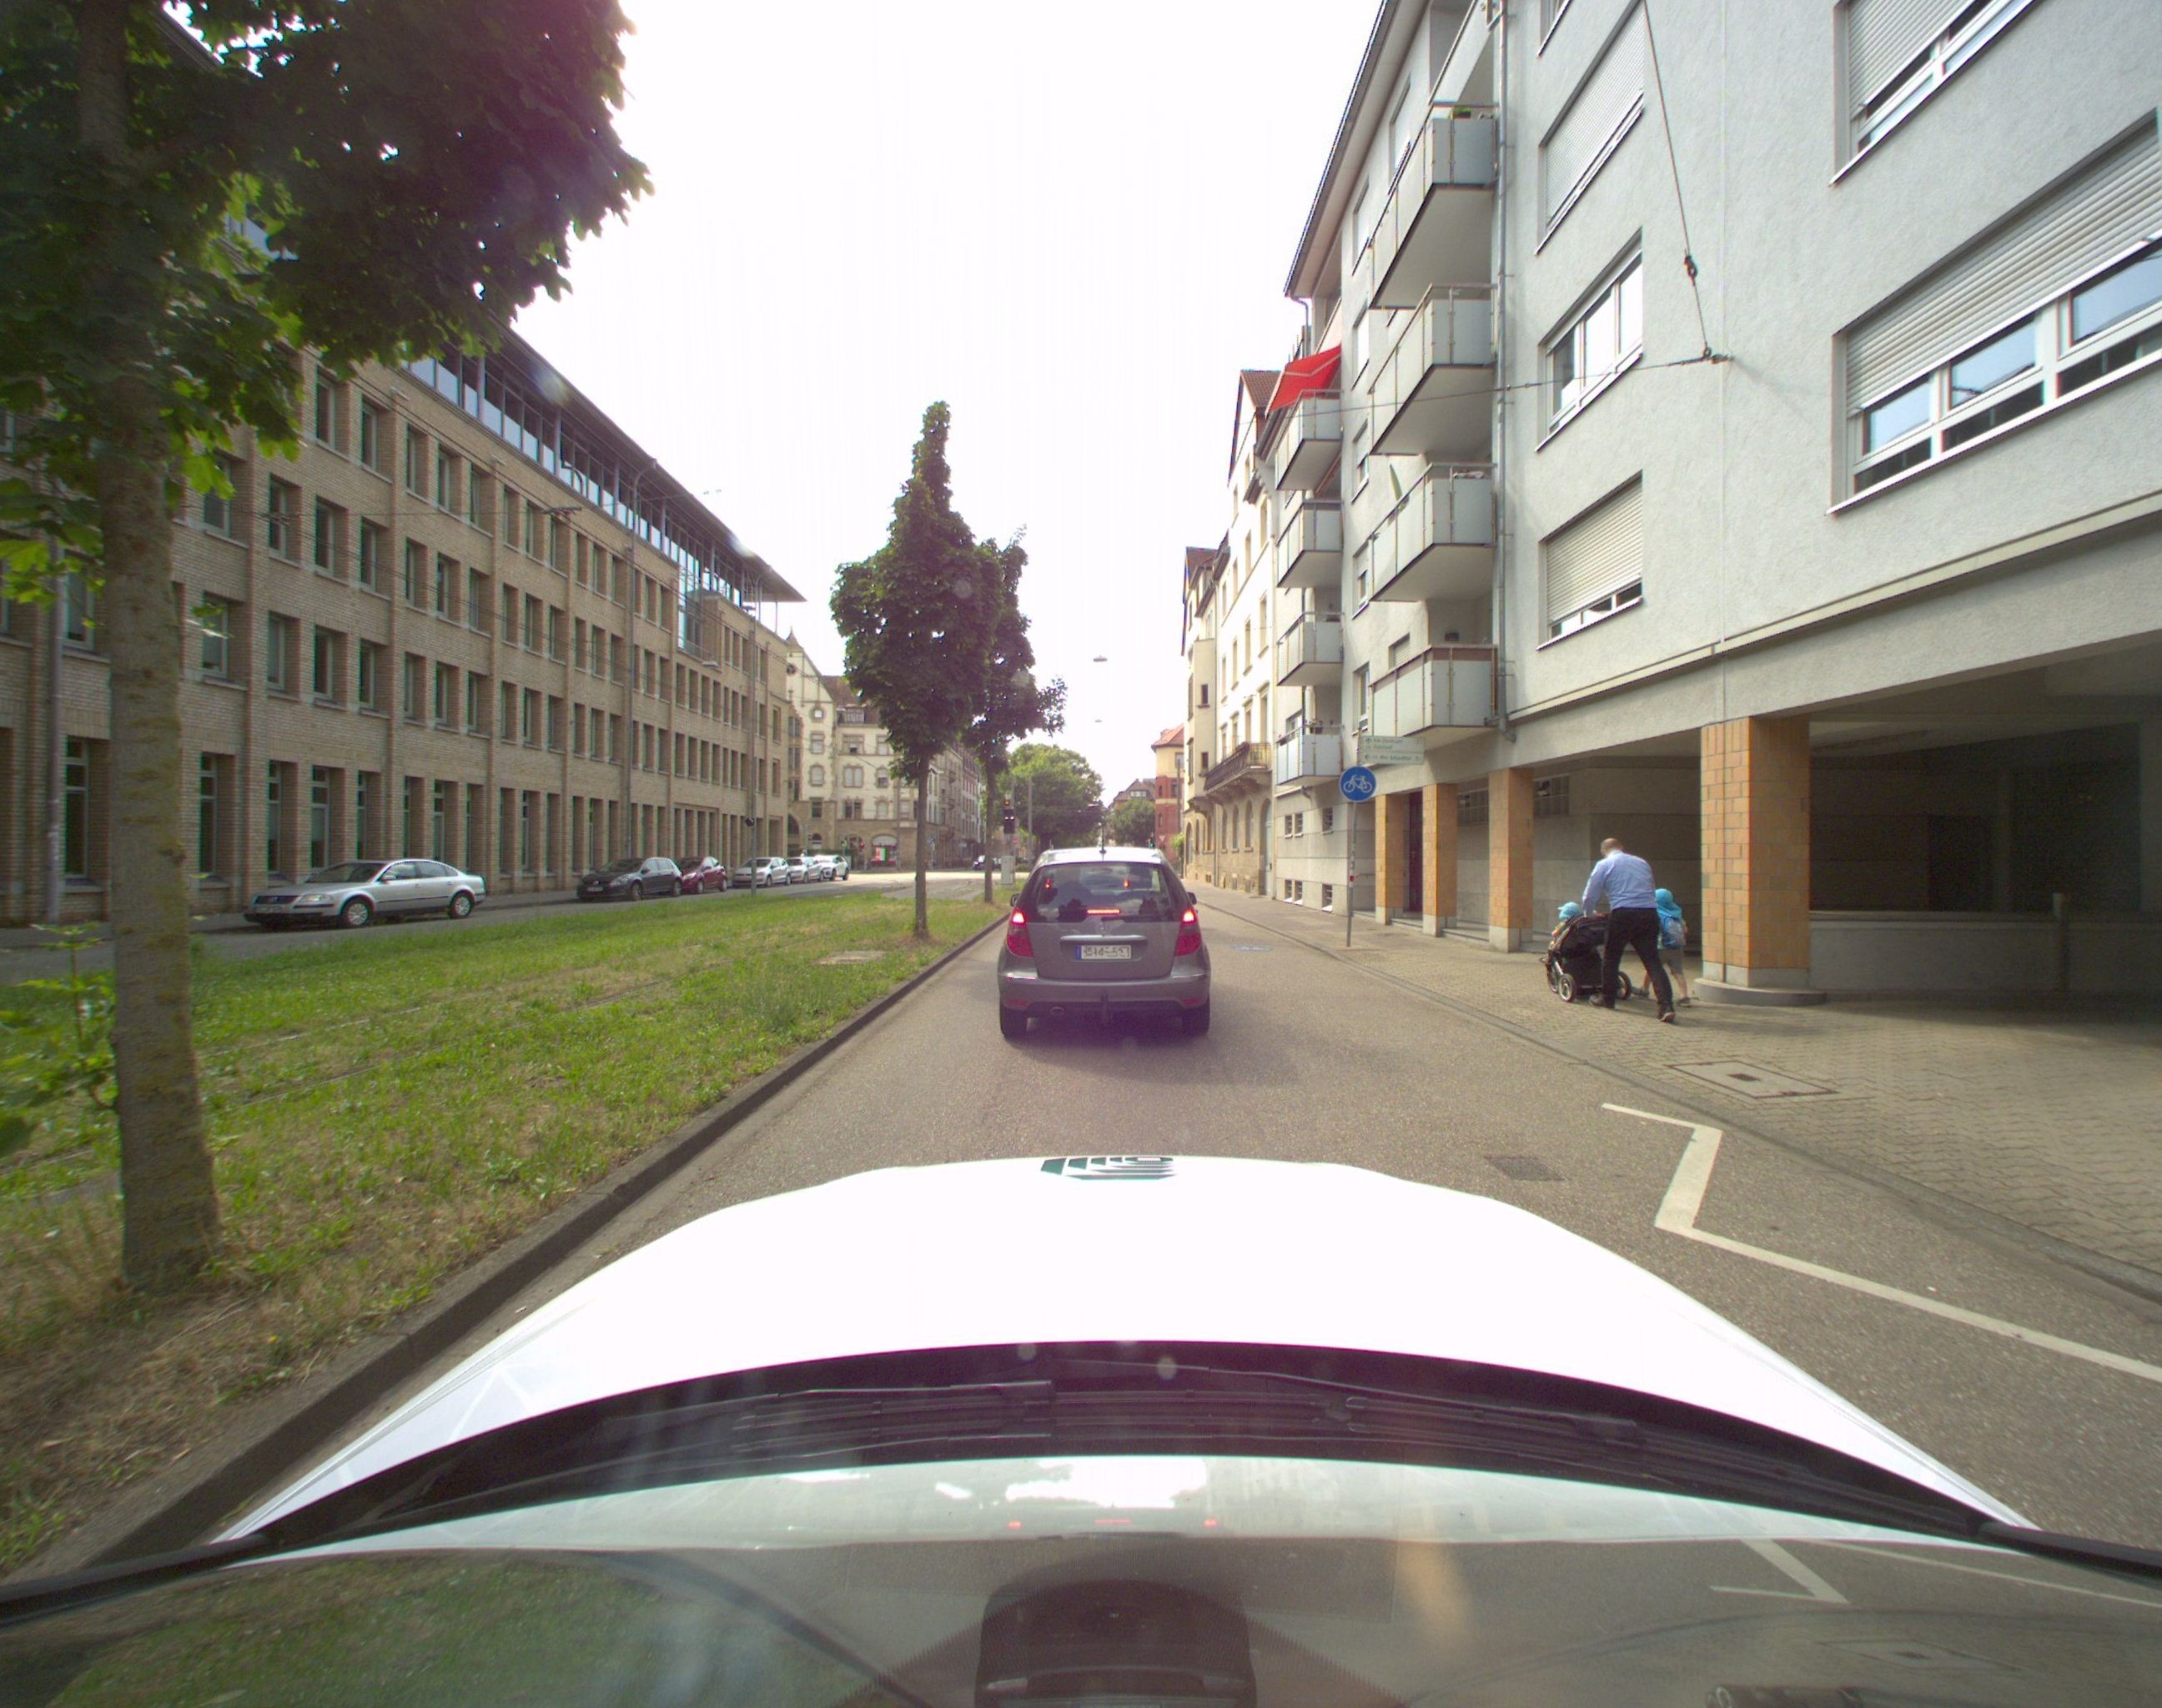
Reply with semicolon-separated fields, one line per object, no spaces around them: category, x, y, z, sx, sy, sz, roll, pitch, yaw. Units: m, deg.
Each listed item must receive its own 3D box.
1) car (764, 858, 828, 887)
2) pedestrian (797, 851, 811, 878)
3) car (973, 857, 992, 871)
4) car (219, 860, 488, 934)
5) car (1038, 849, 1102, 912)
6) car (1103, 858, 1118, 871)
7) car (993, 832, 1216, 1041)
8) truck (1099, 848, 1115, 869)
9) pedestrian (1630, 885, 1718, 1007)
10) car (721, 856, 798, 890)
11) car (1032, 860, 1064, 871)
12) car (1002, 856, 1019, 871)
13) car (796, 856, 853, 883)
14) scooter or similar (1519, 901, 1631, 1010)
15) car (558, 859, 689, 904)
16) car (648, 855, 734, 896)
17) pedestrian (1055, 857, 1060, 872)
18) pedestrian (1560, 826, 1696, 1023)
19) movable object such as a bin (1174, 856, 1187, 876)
car;-15.364;0.972;44.177;1.926;1.531;4.016;0;0;2
pedestrian;-18.367;0.687;53.942;0.763;1.795;0.952;1;-1;-24
car;-11.737;1.174;97.381;1.990;1.618;3.994;0;-1;-4
car;-15.505;0.839;17.759;1.709;1.396;4.486;0;0;2
car;-0.268;0.750;24.116;1.716;1.706;3.678;0;-1;2
car;3.855;1.378;105.315;1.744;1.633;3.504;0;0;5
car;0.235;0.658;8.150;1.716;1.605;3.678;0;-1;2
truck;3.799;0.609;118.287;2.113;2.970;4.005;-1;-1;5
pedestrian;5.862;0.893;8.072;0.454;1.135;0.494;-3;-1;1
car;-15.298;0.852;39.005;1.844;1.531;4.212;0;0;2
car;-4.042;1.391;100.096;1.984;1.339;3.954;1;-1;-38
car;-8.561;1.145;98.850;1.990;1.728;3.994;0;-1;-4
car;-15.266;0.887;48.761;1.926;1.535;4.259;0;0;2
scooter or similar;5.179;1.039;8.588;0.590;1.002;0.906;-4;-1;1
car;-15.409;0.876;27.707;1.926;1.396;4.241;0;0;2
car;-15.408;0.806;32.341;1.577;1.531;3.551;0;0;2
pedestrian;-2.651;1.183;92.306;0.493;1.725;0.651;1;-1;-11
pedestrian;5.182;0.632;7.770;0.618;1.738;0.877;-3;-1;1
movable object such as a bin;7.436;0.858;60.719;0.714;1.472;0.980;0;-1;-8
